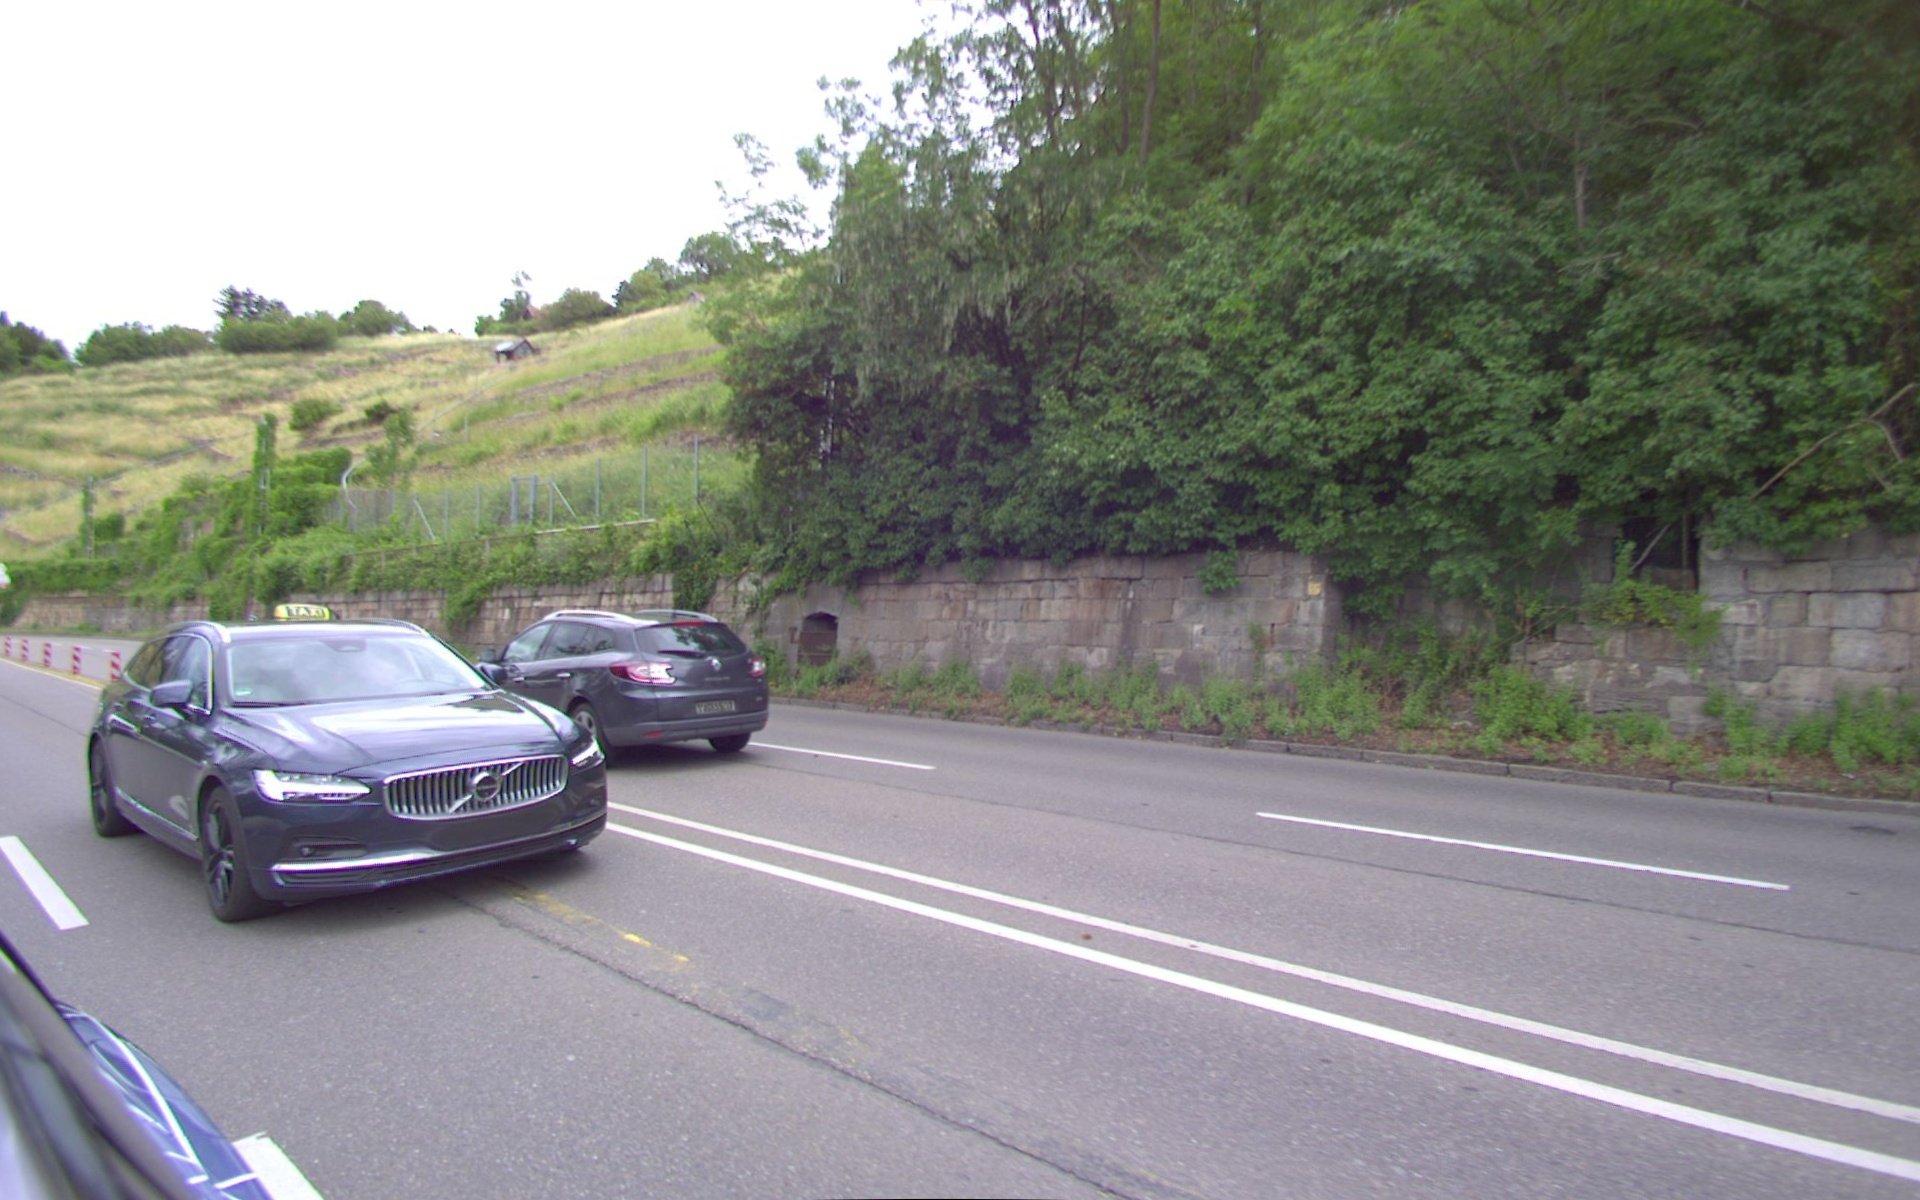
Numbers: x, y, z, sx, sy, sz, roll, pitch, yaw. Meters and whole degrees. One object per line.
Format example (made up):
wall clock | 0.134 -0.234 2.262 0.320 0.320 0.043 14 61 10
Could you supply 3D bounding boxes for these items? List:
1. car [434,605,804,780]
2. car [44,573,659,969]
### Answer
car | -3.743 0.812 10.703 4.294 1.456 1.837 -1 0 42
car | -4.182 0.711 6.488 5.024 1.588 1.915 -1 1 41
